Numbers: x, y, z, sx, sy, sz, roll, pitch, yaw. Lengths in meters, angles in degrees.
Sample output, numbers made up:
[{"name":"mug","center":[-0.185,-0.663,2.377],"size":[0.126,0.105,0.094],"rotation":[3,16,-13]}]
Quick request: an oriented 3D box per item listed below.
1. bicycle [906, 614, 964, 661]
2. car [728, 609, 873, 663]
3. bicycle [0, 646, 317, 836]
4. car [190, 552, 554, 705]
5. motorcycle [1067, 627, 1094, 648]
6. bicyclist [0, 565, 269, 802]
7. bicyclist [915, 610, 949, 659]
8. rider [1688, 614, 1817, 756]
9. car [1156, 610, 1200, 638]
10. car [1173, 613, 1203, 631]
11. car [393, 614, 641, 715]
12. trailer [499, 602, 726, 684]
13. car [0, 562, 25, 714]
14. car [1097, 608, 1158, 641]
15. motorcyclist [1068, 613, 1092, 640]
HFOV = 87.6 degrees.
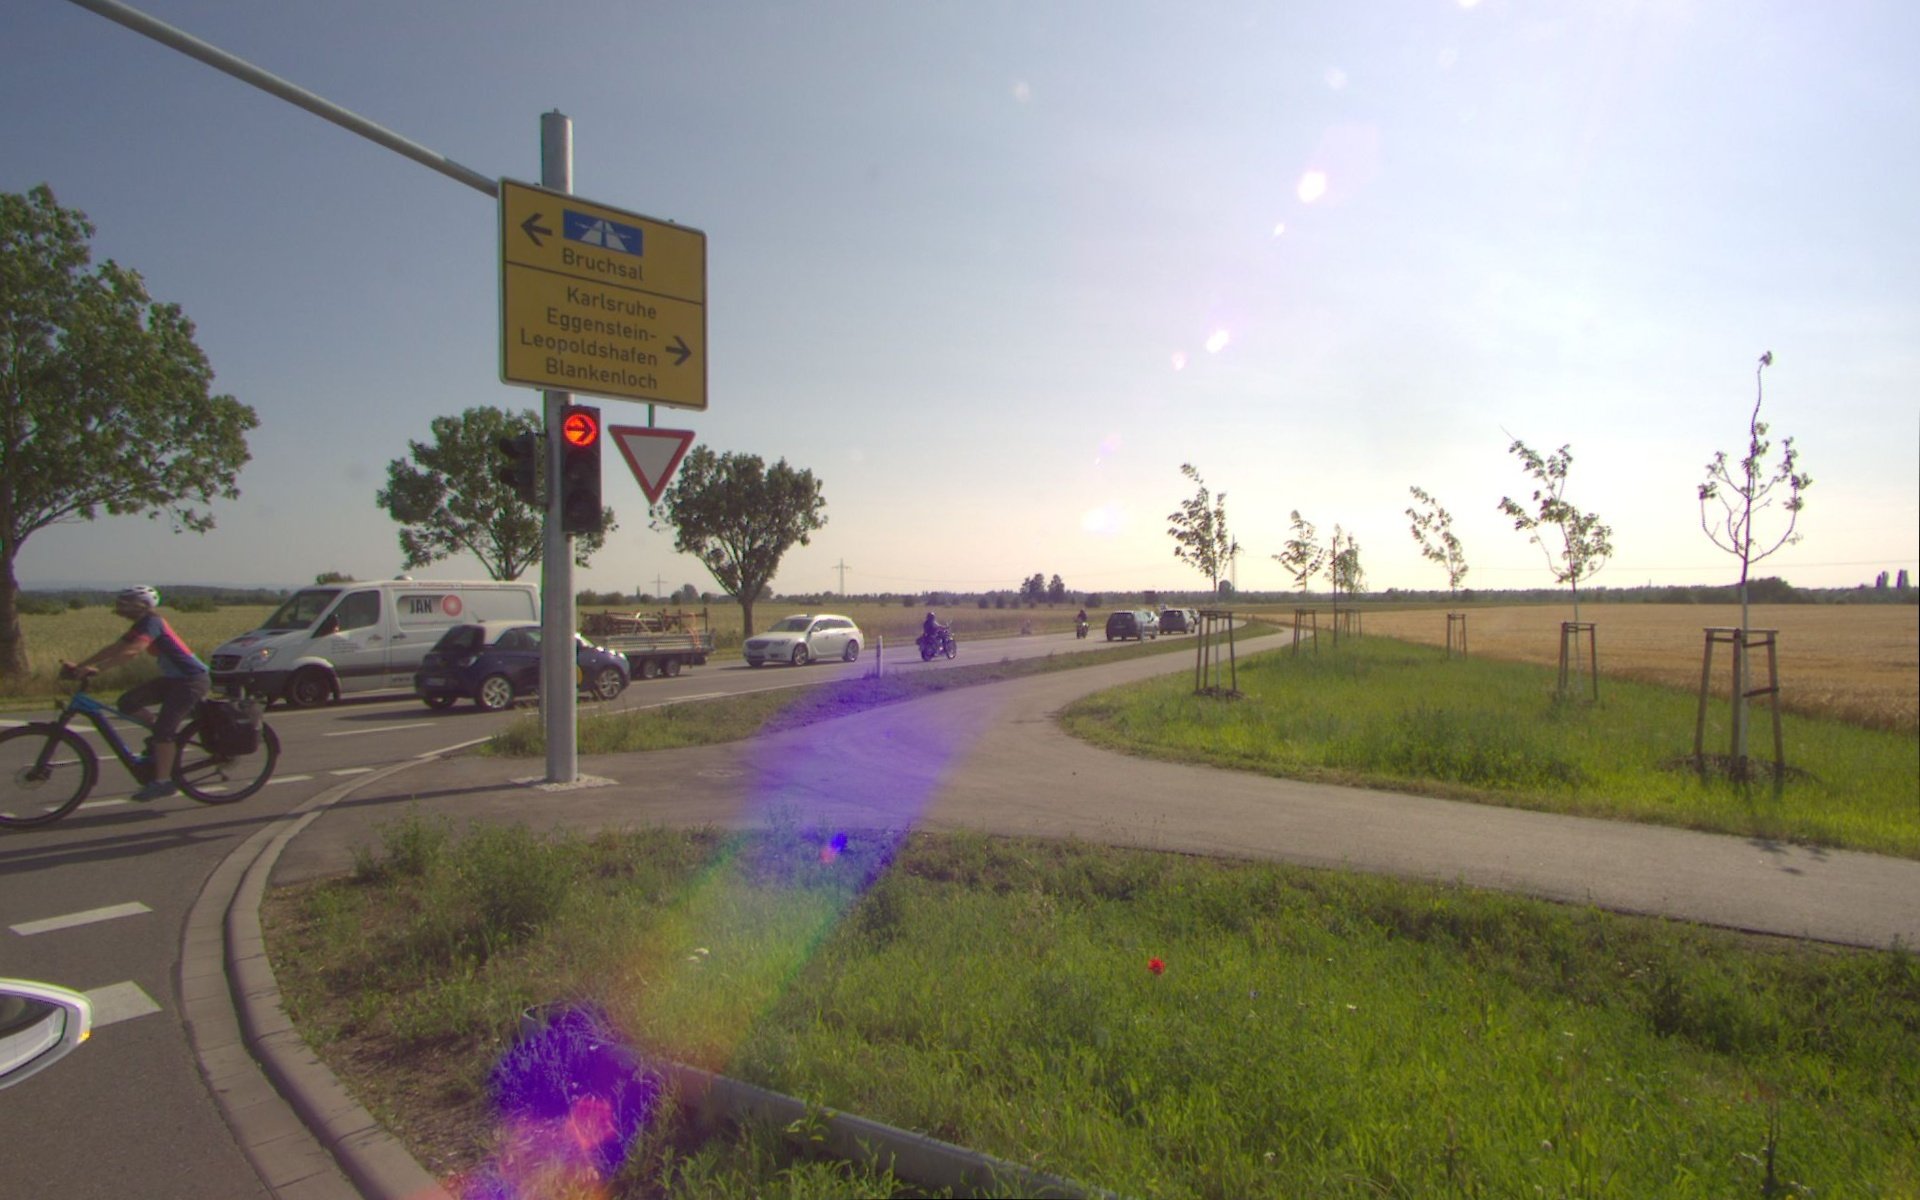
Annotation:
[{"name":"bicycle","center":[-0.770,1.169,31.855],"size":[0.720,1.415,2.490],"rotation":[-1,0,26]},{"name":"car","center":[-4.808,1.124,30.930],"size":[1.969,1.529,4.868],"rotation":[-1,-2,27]},{"name":"bicycle","center":[-6.246,0.977,7.586],"size":[0.877,1.201,2.153],"rotation":[-1,-1,30]},{"name":"car","center":[-11.093,0.563,19.531],"size":[1.970,2.524,5.950],"rotation":[-1,-2,30]},{"name":"motorcycle","center":[6.731,2.108,55.954],"size":[0.836,1.133,2.140],"rotation":[0,-2,26]},{"name":"bicyclist","center":[-6.310,0.577,7.683],"size":[1.147,1.622,1.278],"rotation":[1,0,28]},{"name":"bicyclist","center":[-0.882,1.094,31.563],"size":[0.746,1.508,0.807],"rotation":[-1,-2,28]},{"name":"rider","center":[9.698,1.004,12.272],"size":[0.973,1.664,0.820],"rotation":[0,0,-17]},{"name":"car","center":[13.754,1.556,63.004],"size":[1.736,1.689,3.955],"rotation":[-1,-2,27]},{"name":"car","center":[21.393,2.072,93.830],"size":[1.966,1.713,4.873],"rotation":[0,-2,22]},{"name":"car","center":[-7.645,1.040,17.626],"size":[1.702,1.476,3.722],"rotation":[0,1,29]},{"name":"trailer","center":[-8.279,0.970,24.446],"size":[1.925,1.776,5.253],"rotation":[-1,-1,30]},{"name":"car","center":[-18.701,0.586,15.392],"size":[2.355,2.610,5.892],"rotation":[-1,-2,26]},{"name":"car","center":[8.514,1.175,50.485],"size":[1.890,1.539,4.673],"rotation":[1,0,24]},{"name":"motorcyclist","center":[6.720,1.483,55.883],"size":[1.013,1.479,1.067],"rotation":[0,-1,27]}]
